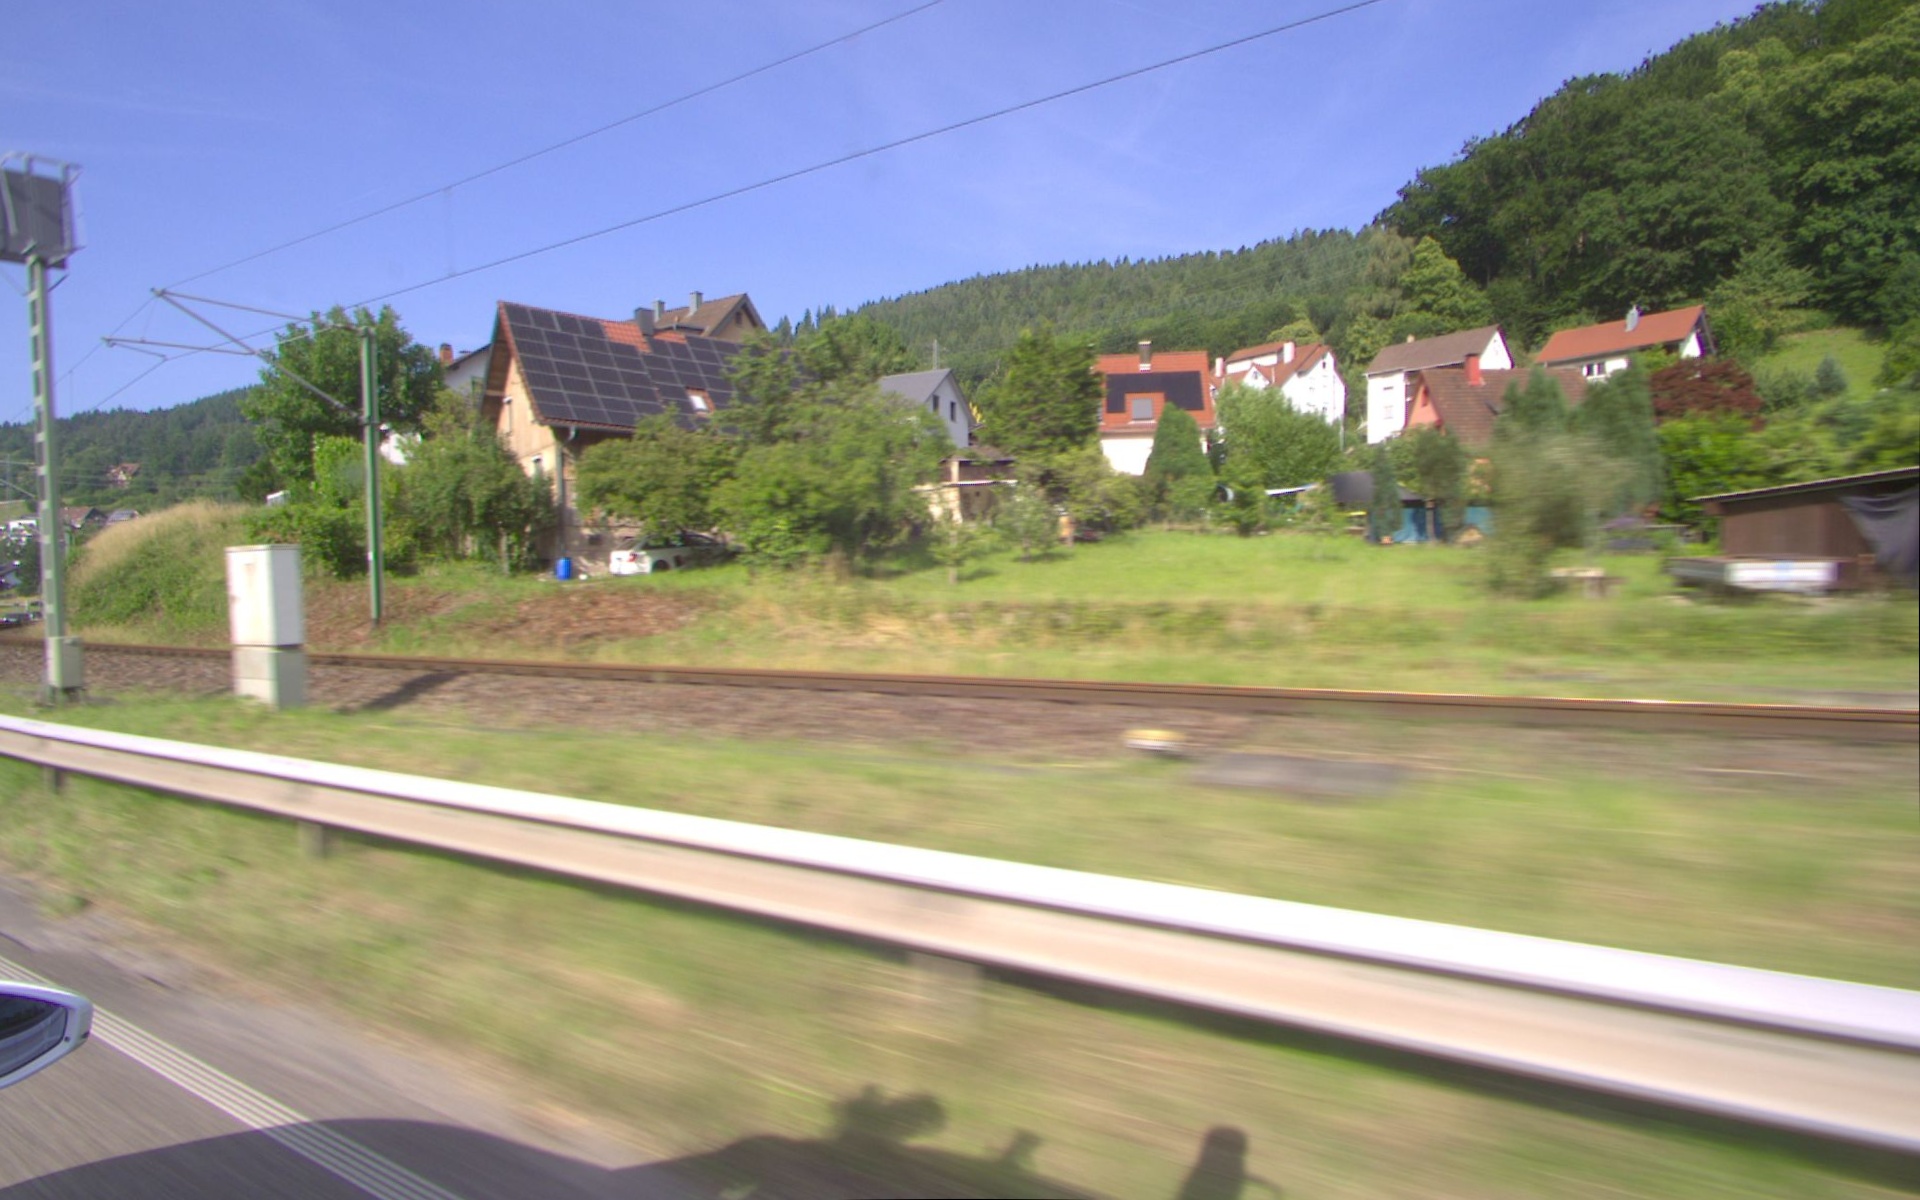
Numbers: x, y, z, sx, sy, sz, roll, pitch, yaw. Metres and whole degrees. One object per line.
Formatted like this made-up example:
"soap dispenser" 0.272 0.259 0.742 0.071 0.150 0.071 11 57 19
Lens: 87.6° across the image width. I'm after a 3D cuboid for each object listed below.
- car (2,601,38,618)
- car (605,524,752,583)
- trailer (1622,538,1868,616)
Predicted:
"car" -90.930 0.874 96.914 1.829 1.547 3.640 -2 1 -32
"car" -9.327 -1.489 33.406 4.423 1.603 1.762 2 -2 -41
"trailer" 14.637 -0.518 19.043 2.283 1.048 4.086 2 7 17
